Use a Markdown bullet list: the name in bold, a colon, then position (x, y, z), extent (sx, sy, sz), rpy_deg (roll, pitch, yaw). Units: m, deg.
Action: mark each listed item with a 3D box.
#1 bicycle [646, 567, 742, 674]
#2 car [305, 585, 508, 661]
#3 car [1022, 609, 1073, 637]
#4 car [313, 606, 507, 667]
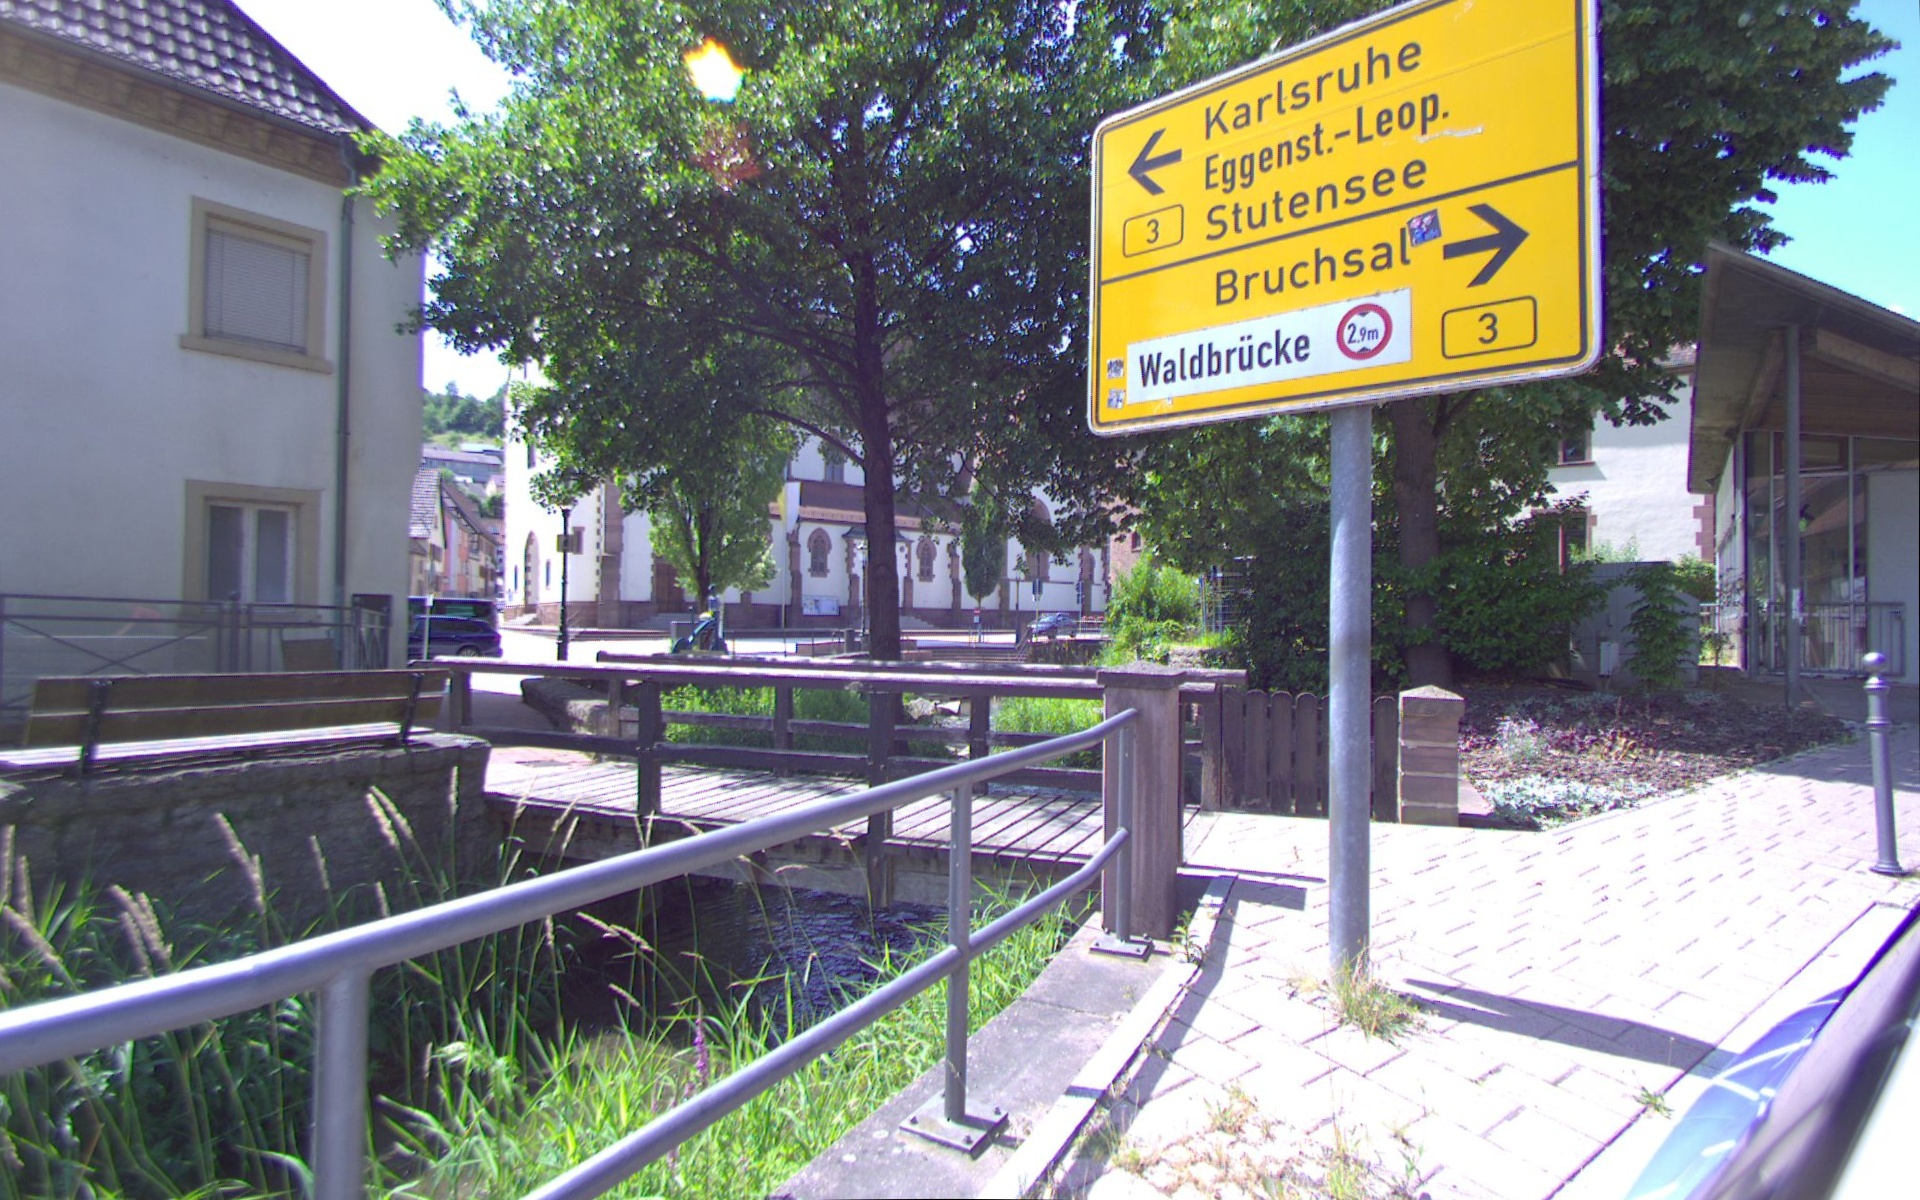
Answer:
- **bicycle**: position (-5.447, 0.409, 20.939), extent (0.771, 2.039, 2.657), rpy_deg (-3, -2, 11)
- **car**: position (-16.594, 0.723, 30.503), extent (5.029, 2.053, 1.957), rpy_deg (3, -2, -39)
- **car**: position (5.071, 1.319, 58.162), extent (1.654, 1.524, 3.774), rpy_deg (-1, -1, 27)
- **car**: position (-15.154, 1.032, 28.017), extent (4.457, 1.501, 1.588), rpy_deg (3, -1, -39)
